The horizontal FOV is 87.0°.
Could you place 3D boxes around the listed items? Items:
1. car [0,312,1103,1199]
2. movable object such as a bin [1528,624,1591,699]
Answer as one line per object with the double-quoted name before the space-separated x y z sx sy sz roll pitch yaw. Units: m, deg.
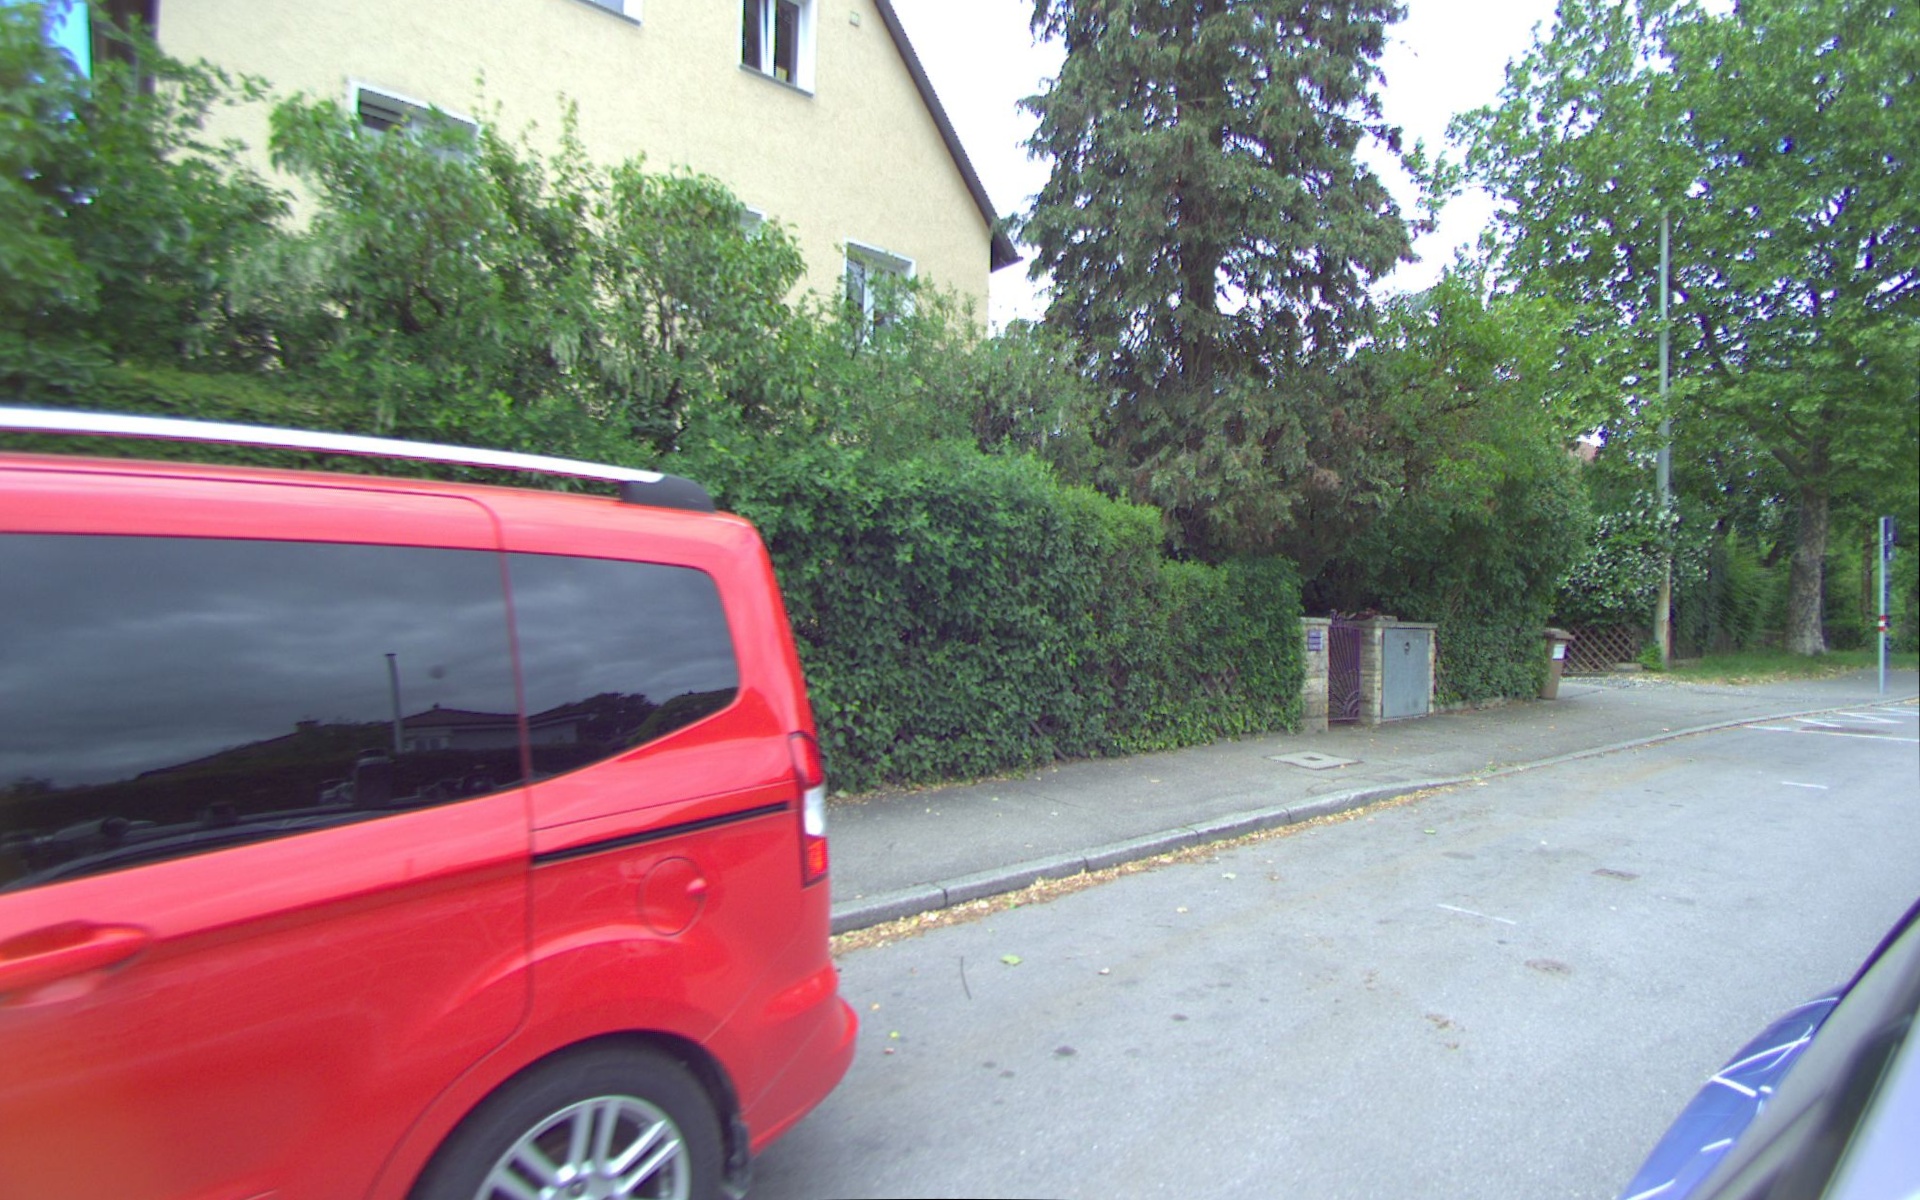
"car" -1.986 0.523 1.884 4.863 1.820 1.763 1 -1 -42
"movable object such as a bin" 9.021 0.913 15.230 0.557 1.083 0.606 1 -2 -28
